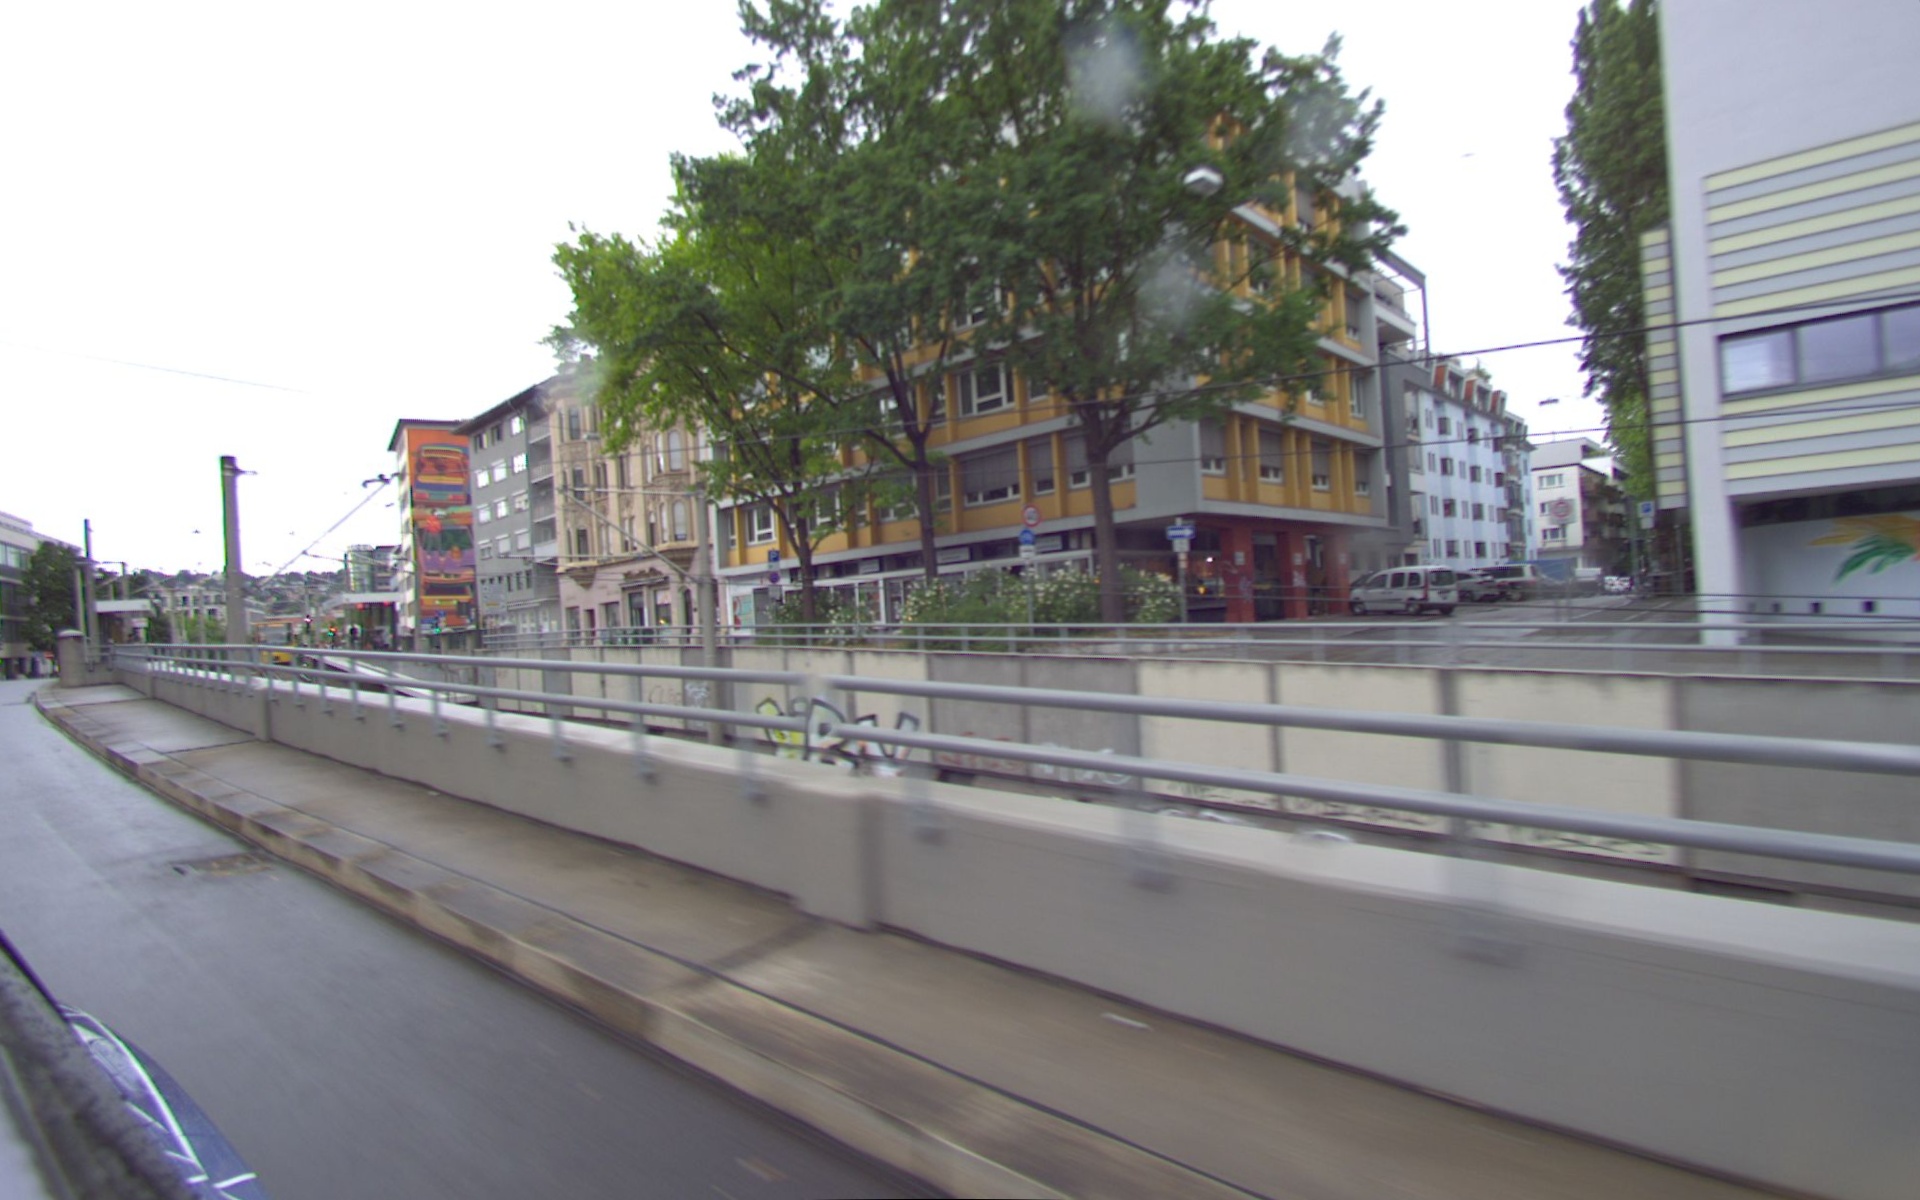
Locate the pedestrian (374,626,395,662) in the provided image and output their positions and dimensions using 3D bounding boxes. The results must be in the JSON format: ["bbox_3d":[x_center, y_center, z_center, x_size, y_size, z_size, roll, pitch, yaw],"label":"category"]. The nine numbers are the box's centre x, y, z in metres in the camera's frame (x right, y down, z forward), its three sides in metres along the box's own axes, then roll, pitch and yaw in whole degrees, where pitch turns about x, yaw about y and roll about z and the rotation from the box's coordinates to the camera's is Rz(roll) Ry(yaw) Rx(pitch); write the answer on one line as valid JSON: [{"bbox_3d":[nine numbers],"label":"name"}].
[{"bbox_3d":[-27.427,2.095,48.222,0.761,1.661,0.779,4,-5,-33],"label":"pedestrian"}]

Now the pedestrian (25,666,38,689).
[{"bbox_3d":[-74.577,6.255,81.272,0.709,1.775,0.960,-2,-4,-41],"label":"pedestrian"}]

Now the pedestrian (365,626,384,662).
[{"bbox_3d":[-27.238,2.051,47.079,0.668,1.661,0.898,3,-5,-33],"label":"pedestrian"}]

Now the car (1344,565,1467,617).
[{"bbox_3d":[16.606,-0.343,37.907,1.799,1.800,4.013,-2,1,-23],"label":"car"}]

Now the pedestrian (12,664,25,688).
[{"bbox_3d":[-74.701,6.045,80.284,0.709,1.775,0.960,-2,-4,-41],"label":"pedestrian"}]

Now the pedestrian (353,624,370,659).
[{"bbox_3d":[-30.065,2.095,50.851,0.624,1.673,0.684,-3,-2,-34],"label":"pedestrian"}]

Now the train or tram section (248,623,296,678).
[{"bbox_3d":[-54.111,4.058,79.685,2.742,3.719,9.738,-4,-2,-34],"label":"train or tram section"}]

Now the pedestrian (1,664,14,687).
[{"bbox_3d":[-75.809,5.991,80.518,0.590,1.775,0.847,-2,-3,-35],"label":"pedestrian"}]

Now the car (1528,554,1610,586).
[{"bbox_3d":[38.159,-1.863,63.508,1.801,1.800,3.963,-2,0,-39],"label":"car"}]

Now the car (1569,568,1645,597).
[{"bbox_3d":[44.583,-1.218,69.750,1.801,1.800,4.007,-2,0,-39],"label":"car"}]

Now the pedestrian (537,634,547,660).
[{"bbox_3d":[-27.459,3.105,66.456,0.415,1.695,0.609,-4,-1,-26],"label":"pedestrian"}]

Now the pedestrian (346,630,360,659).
[{"bbox_3d":[-33.660,2.460,56.086,0.550,1.549,0.518,-2,-2,-37],"label":"pedestrian"}]

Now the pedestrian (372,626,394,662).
[{"bbox_3d":[-27.895,2.134,48.929,0.761,1.661,0.779,4,-5,-33],"label":"pedestrian"}]

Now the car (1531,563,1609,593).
[{"bbox_3d":[40.131,-1.433,66.639,1.743,1.740,4.007,-2,0,-39],"label":"car"}]

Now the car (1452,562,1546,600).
[{"bbox_3d":[28.858,-1.000,54.302,1.801,1.800,4.007,-2,0,-39],"label":"car"}]

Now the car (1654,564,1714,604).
[{"bbox_3d":[33.723,-0.755,47.086,1.672,1.696,4.011,-3,0,44],"label":"car"}]
